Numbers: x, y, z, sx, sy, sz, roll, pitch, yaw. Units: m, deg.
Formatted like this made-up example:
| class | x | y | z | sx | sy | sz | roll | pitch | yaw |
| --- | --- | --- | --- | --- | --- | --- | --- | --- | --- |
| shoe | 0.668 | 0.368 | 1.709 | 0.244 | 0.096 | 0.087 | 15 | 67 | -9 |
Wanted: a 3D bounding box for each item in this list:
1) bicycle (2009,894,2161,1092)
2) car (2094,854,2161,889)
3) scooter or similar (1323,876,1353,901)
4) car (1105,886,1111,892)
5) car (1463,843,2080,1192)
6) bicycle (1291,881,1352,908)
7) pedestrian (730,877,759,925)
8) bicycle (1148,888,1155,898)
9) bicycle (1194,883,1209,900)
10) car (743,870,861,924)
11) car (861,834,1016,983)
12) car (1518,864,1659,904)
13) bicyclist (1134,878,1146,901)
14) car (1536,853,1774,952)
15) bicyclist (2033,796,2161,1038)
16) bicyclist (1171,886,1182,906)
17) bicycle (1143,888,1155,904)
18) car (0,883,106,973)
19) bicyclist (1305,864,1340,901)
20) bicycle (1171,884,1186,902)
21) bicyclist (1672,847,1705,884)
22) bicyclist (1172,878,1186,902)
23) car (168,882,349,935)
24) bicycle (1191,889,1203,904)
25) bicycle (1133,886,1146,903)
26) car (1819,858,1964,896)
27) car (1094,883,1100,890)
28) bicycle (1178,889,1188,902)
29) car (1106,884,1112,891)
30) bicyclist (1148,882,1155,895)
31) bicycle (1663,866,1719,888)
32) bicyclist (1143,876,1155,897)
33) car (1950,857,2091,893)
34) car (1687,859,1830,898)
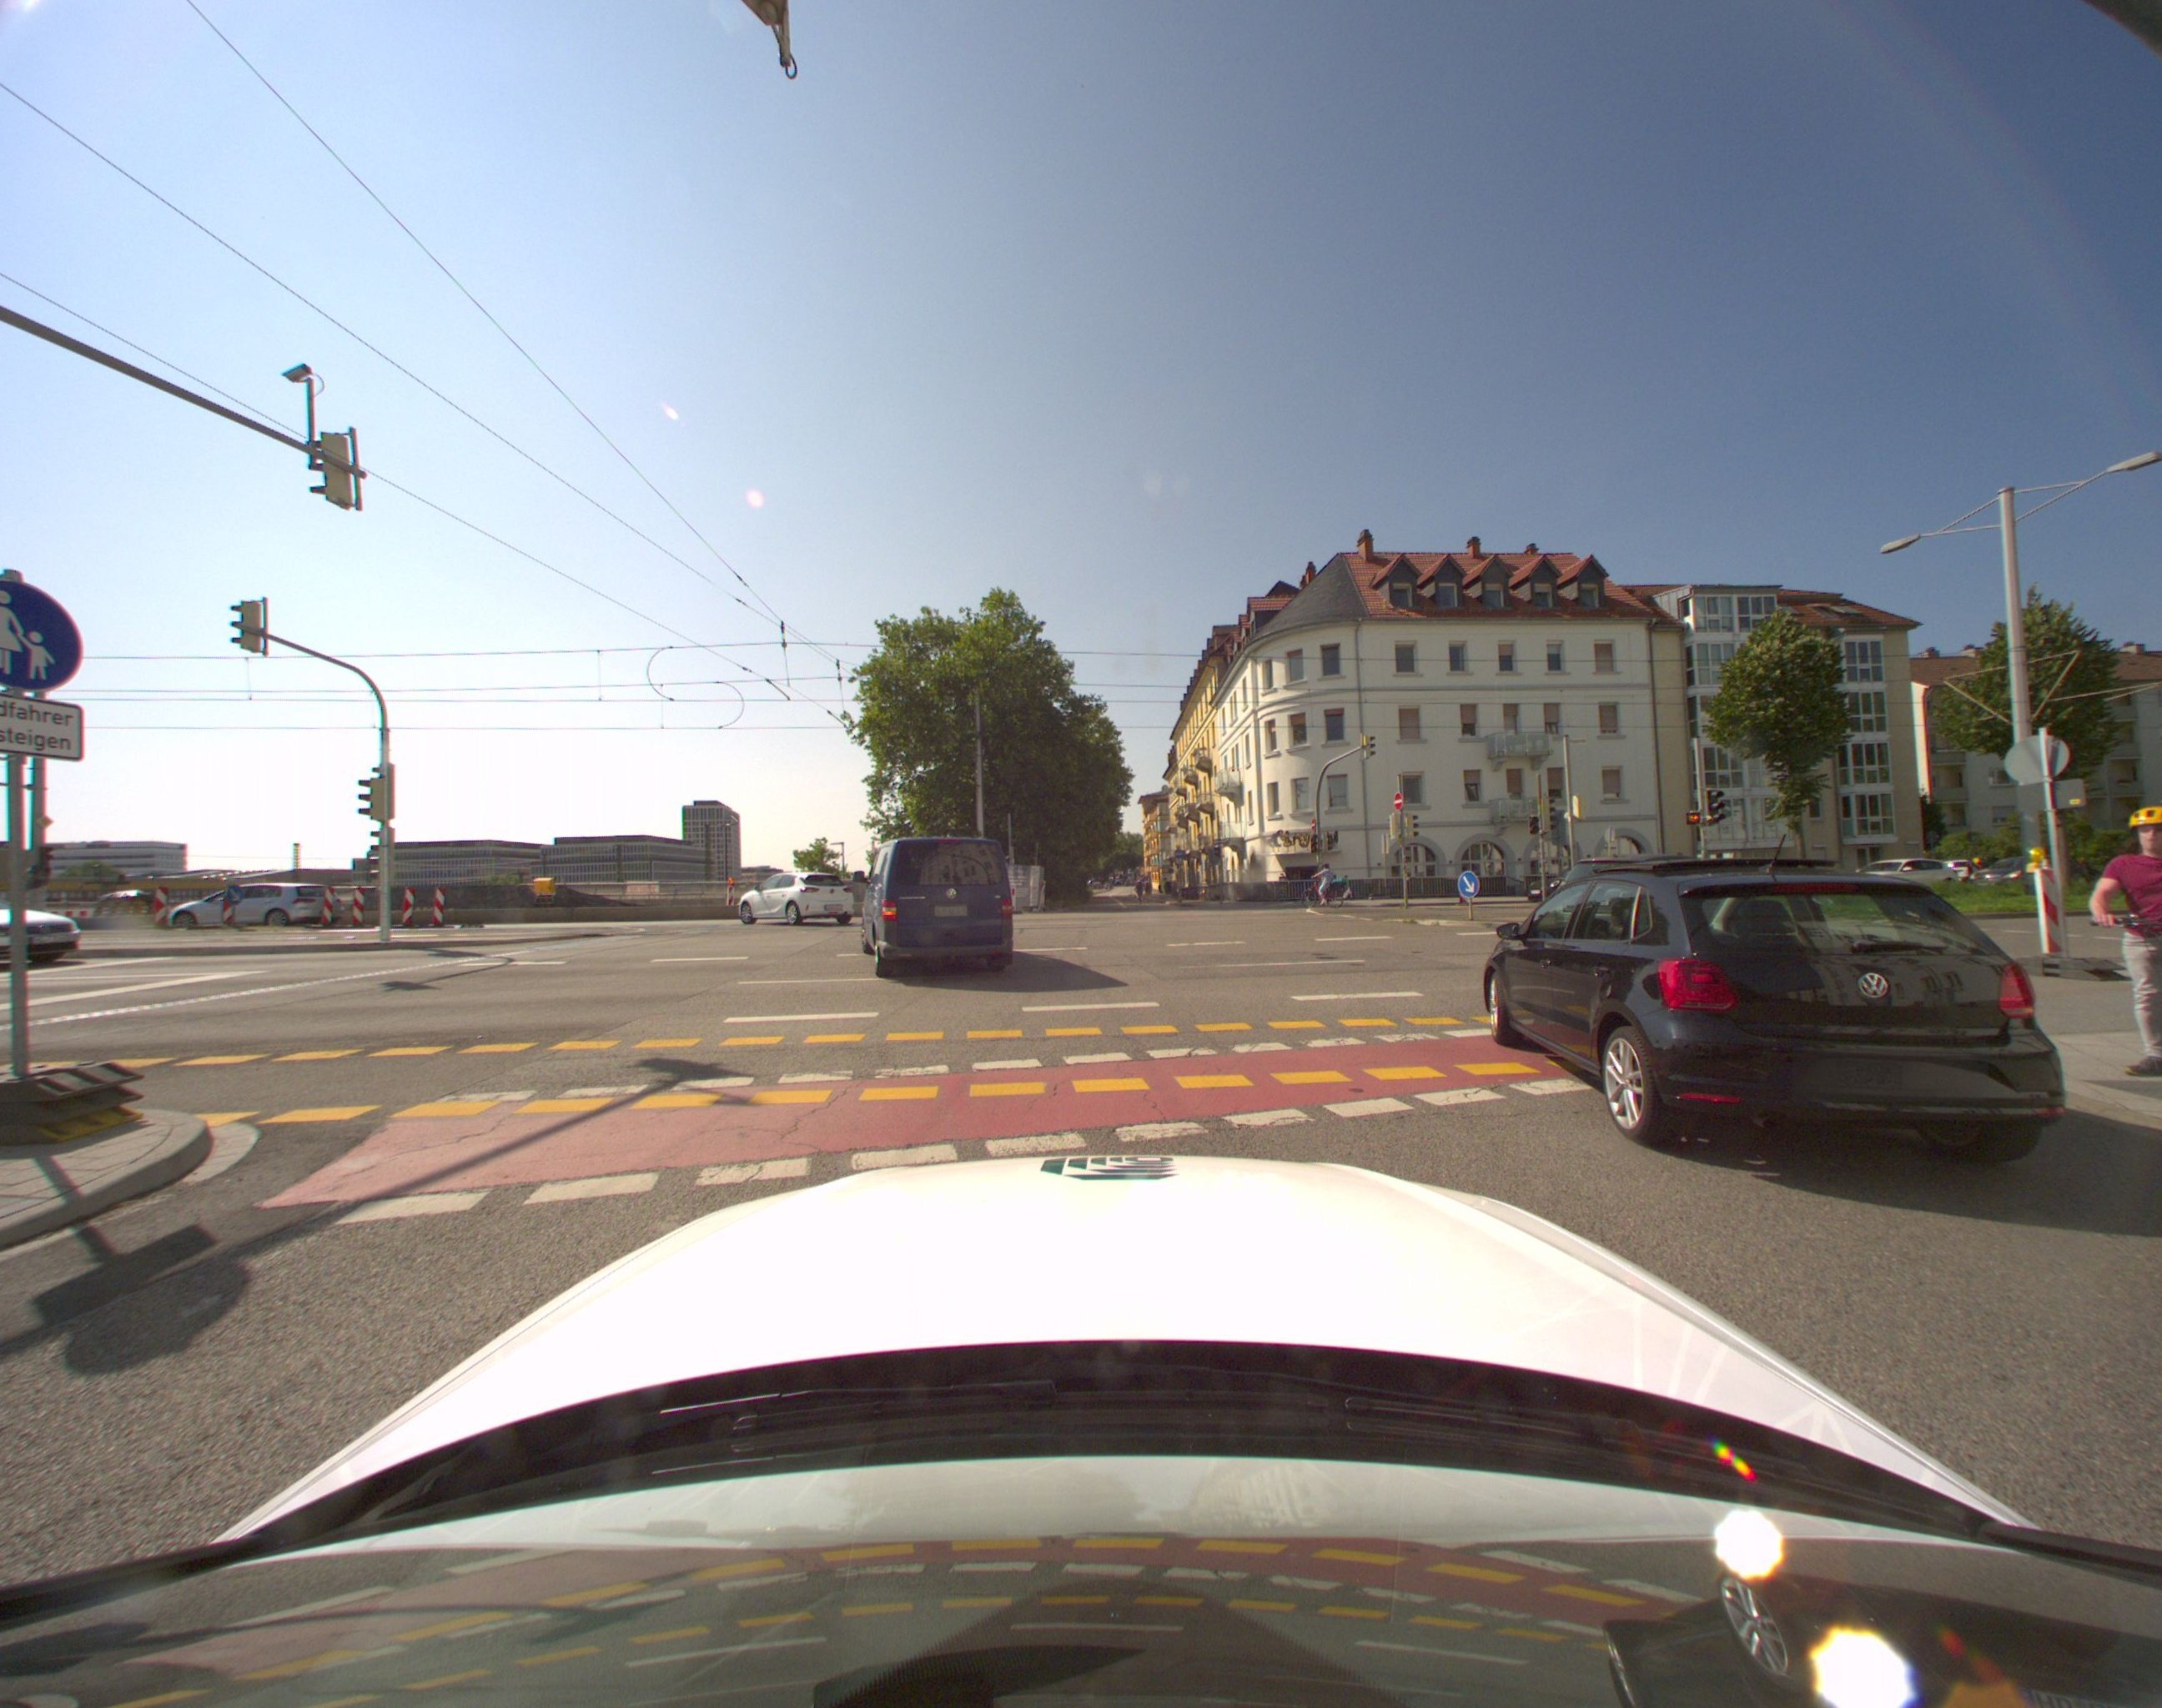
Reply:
| class | x | y | z | sx | sy | sz | roll | pitch | yaw |
| --- | --- | --- | --- | --- | --- | --- | --- | --- | --- |
| bicycle | 7.030 | 0.838 | 5.334 | 1.814 | 1.099 | 0.600 | 0 | -2 | -20 |
| car | 44.675 | 0.717 | 33.676 | 3.987 | 1.354 | 1.761 | -1 | -3 | -10 |
| scooter or similar | 11.814 | 1.580 | 37.460 | 1.291 | 1.118 | 0.340 | -2 | -2 | 14 |
| car | 7.082 | 9.138 | 211.908 | 1.620 | 1.623 | 3.696 | -1 | -1 | 2 |
| car | 3.868 | 0.733 | 5.441 | 1.578 | 1.493 | 3.674 | -1 | -1 | 12 |
| bicycle | 9.134 | 1.540 | 31.075 | 0.870 | 0.990 | 2.224 | 1 | -3 | -30 |
| pedestrian | -13.038 | 1.796 | 31.557 | 0.867 | 1.795 | 0.813 | -1 | -1 | -33 |
| bicycle | 8.788 | 4.850 | 101.230 | 0.833 | 1.137 | 2.862 | -1 | -3 | 5 |
| bicycle | 8.341 | 2.609 | 56.564 | 0.833 | 1.137 | 2.862 | -1 | -3 | 5 |
| car | -7.872 | 1.217 | 22.855 | 3.368 | 1.405 | 1.733 | -4 | -4 | 42 |
| car | -2.376 | 0.734 | 12.695 | 1.821 | 1.906 | 4.029 | -1 | -1 | -18 |
| car | 18.129 | 1.091 | 29.225 | 3.978 | 1.321 | 1.766 | -1 | -3 | -3 |
| bicyclist | 4.093 | 2.482 | 56.602 | 0.833 | 1.538 | 1.025 | -1 | -3 | 5 |
| car | 10.048 | 0.766 | 14.289 | 3.657 | 1.556 | 1.685 | 0 | 0 | -21 |
| bicyclist | 6.958 | 0.392 | 5.336 | 0.918 | 1.478 | 0.594 | 0 | -2 | -20 |
| bicyclist | 7.736 | 3.384 | 65.801 | 0.705 | 1.550 | 0.785 | -3 | -2 | 2 |
| bicycle | 5.040 | 3.060 | 60.116 | 0.833 | 1.137 | 2.862 | -1 | -3 | 5 |
| car | -20.092 | 1.287 | 13.875 | 4.621 | 1.437 | 1.640 | -1 | 0 | -5 |
| bicyclist | 9.181 | 1.087 | 31.002 | 0.871 | 1.416 | 0.908 | 1 | -3 | -31 |
| bicycle | 6.194 | 2.480 | 51.665 | 0.833 | 1.137 | 2.862 | -1 | -3 | 5 |
| bicyclist | 28.068 | 0.522 | 37.666 | 0.997 | 1.654 | 0.813 | -2 | -1 | 22 |
| bicyclist | 6.183 | 2.262 | 51.577 | 0.833 | 1.508 | 0.954 | -1 | -3 | 5 |
| car | -25.498 | 1.674 | 25.370 | 3.678 | 1.532 | 1.720 | -1 | -3 | -4 |
| bicycle | 8.536 | 3.139 | 59.910 | 0.677 | 1.075 | 2.294 | -1 | -2 | 3 |
| bicycle | 4.086 | 2.822 | 56.514 | 0.833 | 1.137 | 2.862 | -1 | -3 | 5 |
| car | 30.850 | 0.900 | 31.060 | 3.982 | 1.354 | 1.764 | -1 | -3 | -6 |
| car | 4.197 | 8.420 | 211.718 | 1.620 | 1.623 | 3.696 | -1 | -1 | 2 |
| bicycle | 8.823 | 3.634 | 70.743 | 0.677 | 1.075 | 2.294 | -1 | -2 | 3 |
| car | 6.816 | 8.224 | 198.990 | 1.620 | 1.623 | 3.696 | -1 | -1 | 2 |
| bicyclist | 8.773 | 4.265 | 101.158 | 0.833 | 1.538 | 1.025 | -1 | -3 | 5 |
| bicycle | 28.154 | 1.060 | 37.622 | 1.889 | 1.020 | 0.826 | -1 | -1 | 22 |
| bicyclist | 5.030 | 2.390 | 60.160 | 0.833 | 1.538 | 1.025 | -1 | -3 | 5 |
| car | 37.460 | 0.854 | 32.516 | 3.985 | 1.354 | 1.763 | -1 | -3 | -8 |
| car | 25.213 | 0.935 | 30.379 | 3.981 | 1.354 | 1.764 | -1 | -3 | -5 |
